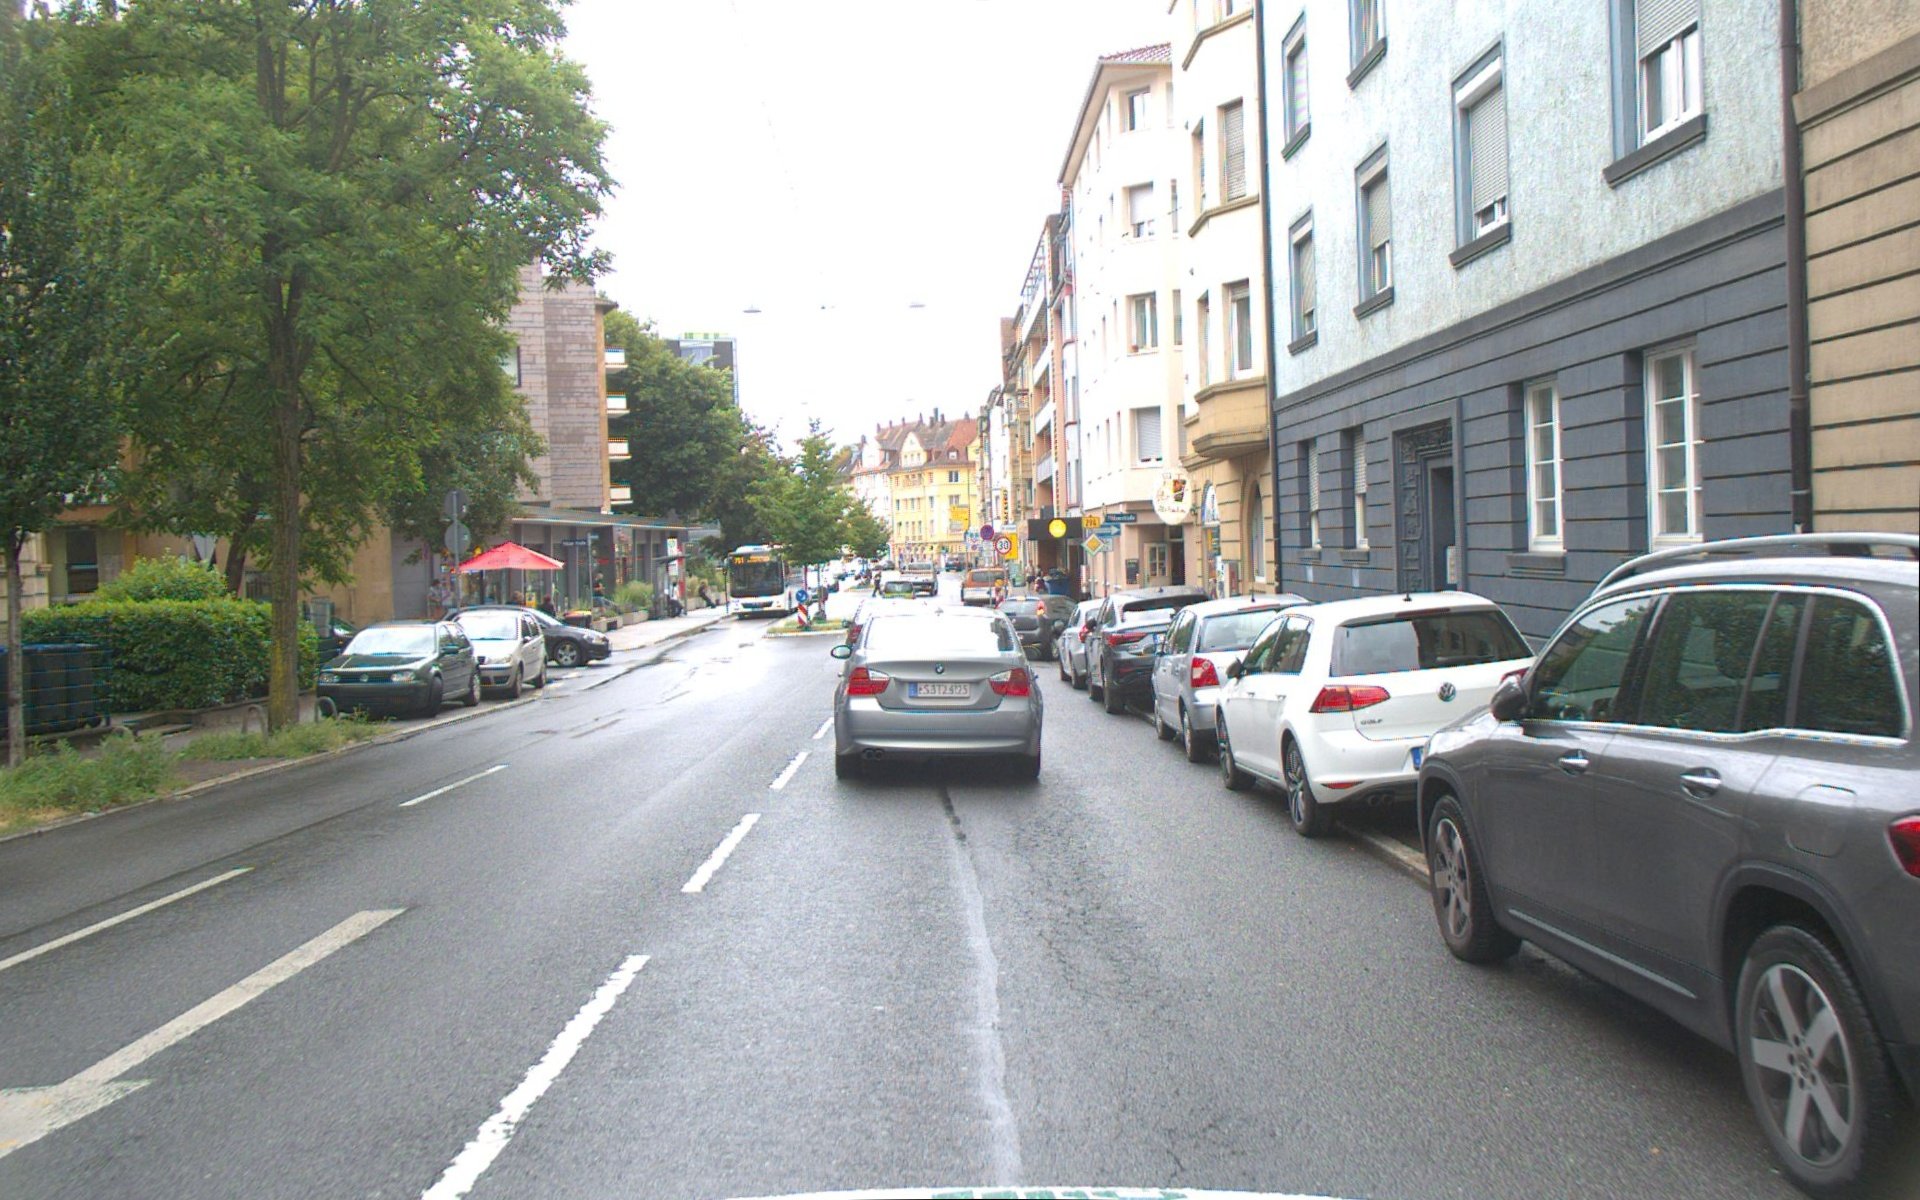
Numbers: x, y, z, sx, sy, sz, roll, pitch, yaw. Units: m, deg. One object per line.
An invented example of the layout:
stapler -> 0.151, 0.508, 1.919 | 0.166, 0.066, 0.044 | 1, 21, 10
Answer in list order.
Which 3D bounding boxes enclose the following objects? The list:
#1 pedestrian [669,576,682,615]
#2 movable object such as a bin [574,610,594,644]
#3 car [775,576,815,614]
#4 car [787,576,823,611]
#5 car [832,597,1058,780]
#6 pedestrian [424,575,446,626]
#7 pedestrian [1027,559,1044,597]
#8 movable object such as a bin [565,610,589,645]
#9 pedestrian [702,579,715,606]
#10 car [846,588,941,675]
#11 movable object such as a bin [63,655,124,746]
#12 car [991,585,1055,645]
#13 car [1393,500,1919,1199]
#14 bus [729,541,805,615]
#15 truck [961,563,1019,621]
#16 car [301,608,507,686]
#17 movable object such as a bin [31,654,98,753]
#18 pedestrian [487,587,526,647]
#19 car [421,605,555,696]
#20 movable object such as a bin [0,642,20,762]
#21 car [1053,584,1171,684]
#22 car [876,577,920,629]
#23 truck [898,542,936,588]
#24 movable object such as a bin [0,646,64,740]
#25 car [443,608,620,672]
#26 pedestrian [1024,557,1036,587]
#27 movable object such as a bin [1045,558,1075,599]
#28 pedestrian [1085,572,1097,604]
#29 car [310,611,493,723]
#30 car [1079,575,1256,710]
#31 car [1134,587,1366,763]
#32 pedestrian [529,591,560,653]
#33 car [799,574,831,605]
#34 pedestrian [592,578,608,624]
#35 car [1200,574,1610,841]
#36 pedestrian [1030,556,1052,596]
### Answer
pedestrian -> -12.644, -0.197, 73.411 | 0.532, 1.739, 0.465 | 1, -1, -8
movable object such as a bin -> -12.382, 0.886, 54.479 | 0.480, 1.100, 0.606 | -3, -1, -1
car -> -9.150, -0.273, 91.876 | 1.953, 2.049, 3.998 | 1, -1, -2
car -> -9.323, -0.369, 99.648 | 1.953, 2.049, 3.998 | 0, -1, -2
car -> -0.147, 0.693, 14.298 | 1.720, 1.386, 3.164 | -1, -1, -1
pedestrian -> -19.402, 0.004, 61.129 | 0.628, 1.847, 0.630 | -2, 1, -26
pedestrian -> 3.444, -1.008, 75.482 | 0.733, 1.690, 0.837 | 1, -1, 5
movable object such as a bin -> -12.444, 0.876, 53.742 | 0.542, 1.100, 0.731 | -3, -1, -1
pedestrian -> -13.555, -0.402, 89.243 | 0.607, 1.402, 0.544 | 1, -1, 0
car -> -1.211, 0.547, 29.463 | 1.570, 1.445, 3.285 | 1, -1, -3
movable object such as a bin -> -11.057, 1.271, 21.110 | 0.430, 1.100, 0.589 | -2, 0, -2
car -> 1.490, 0.361, 39.969 | 1.406, 1.380, 3.762 | 1, -1, 0
car -> 3.006, 0.547, 5.504 | 1.804, 1.649, 4.206 | -3, 0, -2
bus -> -9.122, -0.936, 79.364 | 2.627, 3.256, 11.950 | 1, -1, -2
truck -> 1.236, -0.310, 66.375 | 2.169, 2.153, 4.653 | 2, 0, 2
car -> -11.791, 0.984, 35.240 | 3.737, 1.413, 1.743 | -2, 2, 1
movable object such as a bin -> -11.020, 1.264, 20.363 | 0.430, 1.150, 0.657 | -2, 0, -2
pedestrian -> -13.517, 0.496, 49.337 | 1.043, 1.761, 0.712 | -1, 1, -11
car -> -8.569, 0.868, 30.314 | 1.600, 1.479, 3.836 | -2, 0, -5
movable object such as a bin -> -11.029, 1.164, 18.686 | 0.430, 1.331, 0.609 | -2, 0, -2
car -> 2.551, 0.530, 28.558 | 1.537, 1.489, 4.088 | -4, 0, -1
car -> -2.575, 0.150, 67.901 | 1.671, 2.049, 3.996 | 1, -1, -4
truck -> -2.612, -2.059, 99.345 | 2.172, 2.589, 4.778 | 1, -1, -2
movable object such as a bin -> -11.079, 1.101, 19.703 | 0.417, 1.059, 0.650 | -2, 0, -2
car -> -10.066, 0.935, 39.050 | 3.739, 1.414, 1.742 | -1, -1, -2
pedestrian -> 3.948, -1.583, 93.490 | 0.602, 1.690, 0.755 | 1, -1, 5
movable object such as a bin -> 4.432, -0.964, 73.439 | 1.100, 1.732, 1.433 | -3, 0, -4
pedestrian -> 5.297, -0.483, 66.793 | 0.404, 1.223, 0.357 | -4, 2, 1
car -> -8.585, 0.977, 25.750 | 1.621, 1.479, 3.940 | -2, 1, -3
car -> 2.771, 0.525, 23.012 | 1.781, 1.584, 4.292 | -4, 0, -1
car -> 2.821, 0.664, 16.820 | 1.551, 1.454, 3.594 | -5, 1, -1
pedestrian -> -12.285, 0.644, 48.870 | 0.729, 1.738, 0.676 | -4, 1, -20
car -> -10.113, -0.698, 115.574 | 1.953, 2.049, 3.998 | 1, -1, -2
pedestrian -> -14.494, 0.048, 66.627 | 0.455, 1.821, 0.545 | 1, -1, 4
car -> 2.959, 0.620, 11.897 | 1.695, 1.454, 3.973 | -5, 1, -1
pedestrian -> 3.518, -1.037, 71.936 | 0.738, 1.690, 0.751 | 1, -1, -17
